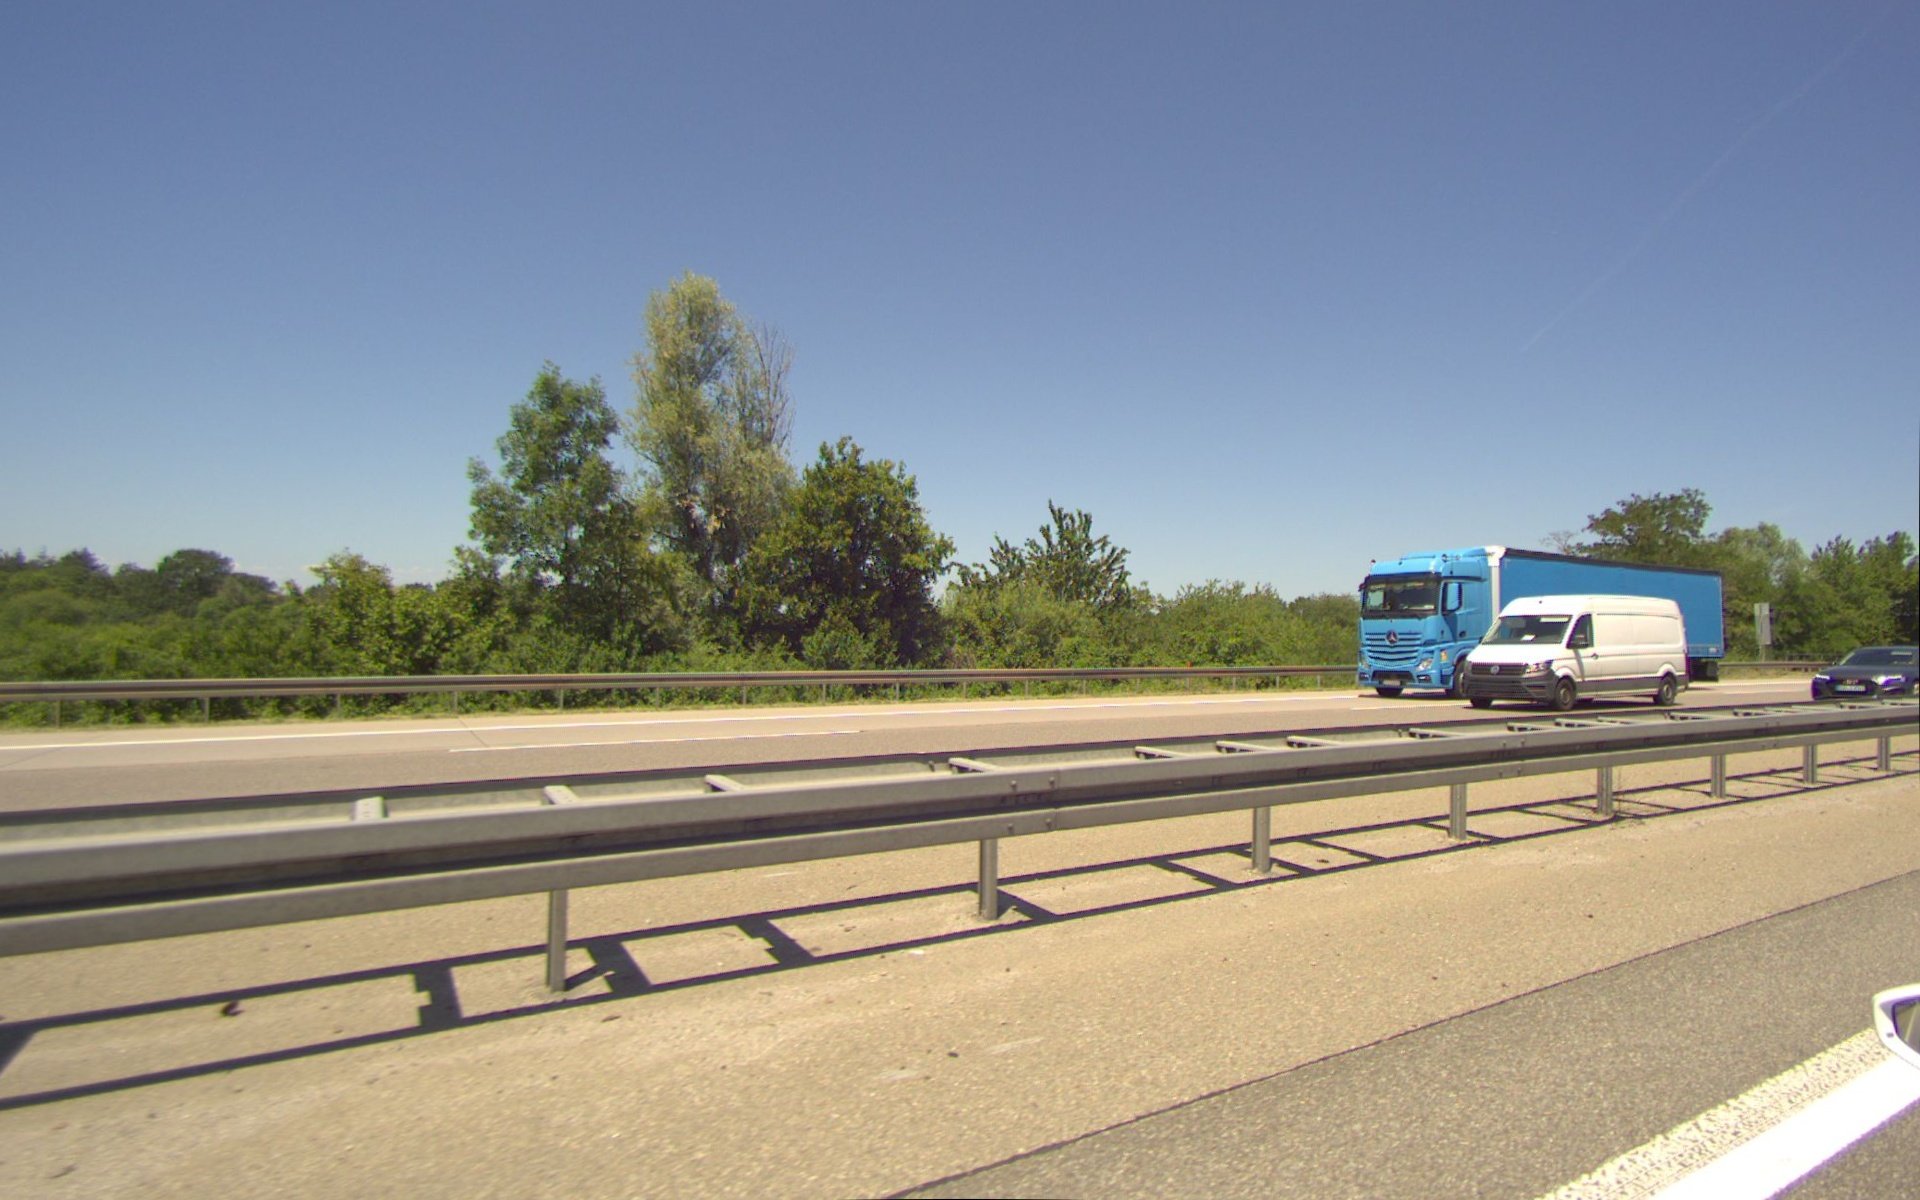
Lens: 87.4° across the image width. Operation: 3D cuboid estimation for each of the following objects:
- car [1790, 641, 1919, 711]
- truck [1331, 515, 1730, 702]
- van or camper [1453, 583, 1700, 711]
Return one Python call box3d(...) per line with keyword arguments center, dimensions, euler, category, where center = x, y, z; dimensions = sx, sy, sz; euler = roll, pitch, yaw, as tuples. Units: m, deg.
box3d(center=(21.944, 1.743, 23.878), dimensions=(4.732, 1.503, 1.984), euler=(2, -2, -31), category="car")
box3d(center=(18.404, 0.516, 31.393), dimensions=(16.672, 4.781, 3.209), euler=(2, -4, -32), category="truck")
box3d(center=(14.395, 1.103, 23.260), dimensions=(6.958, 2.599, 1.983), euler=(2, -4, -32), category="van or camper")
